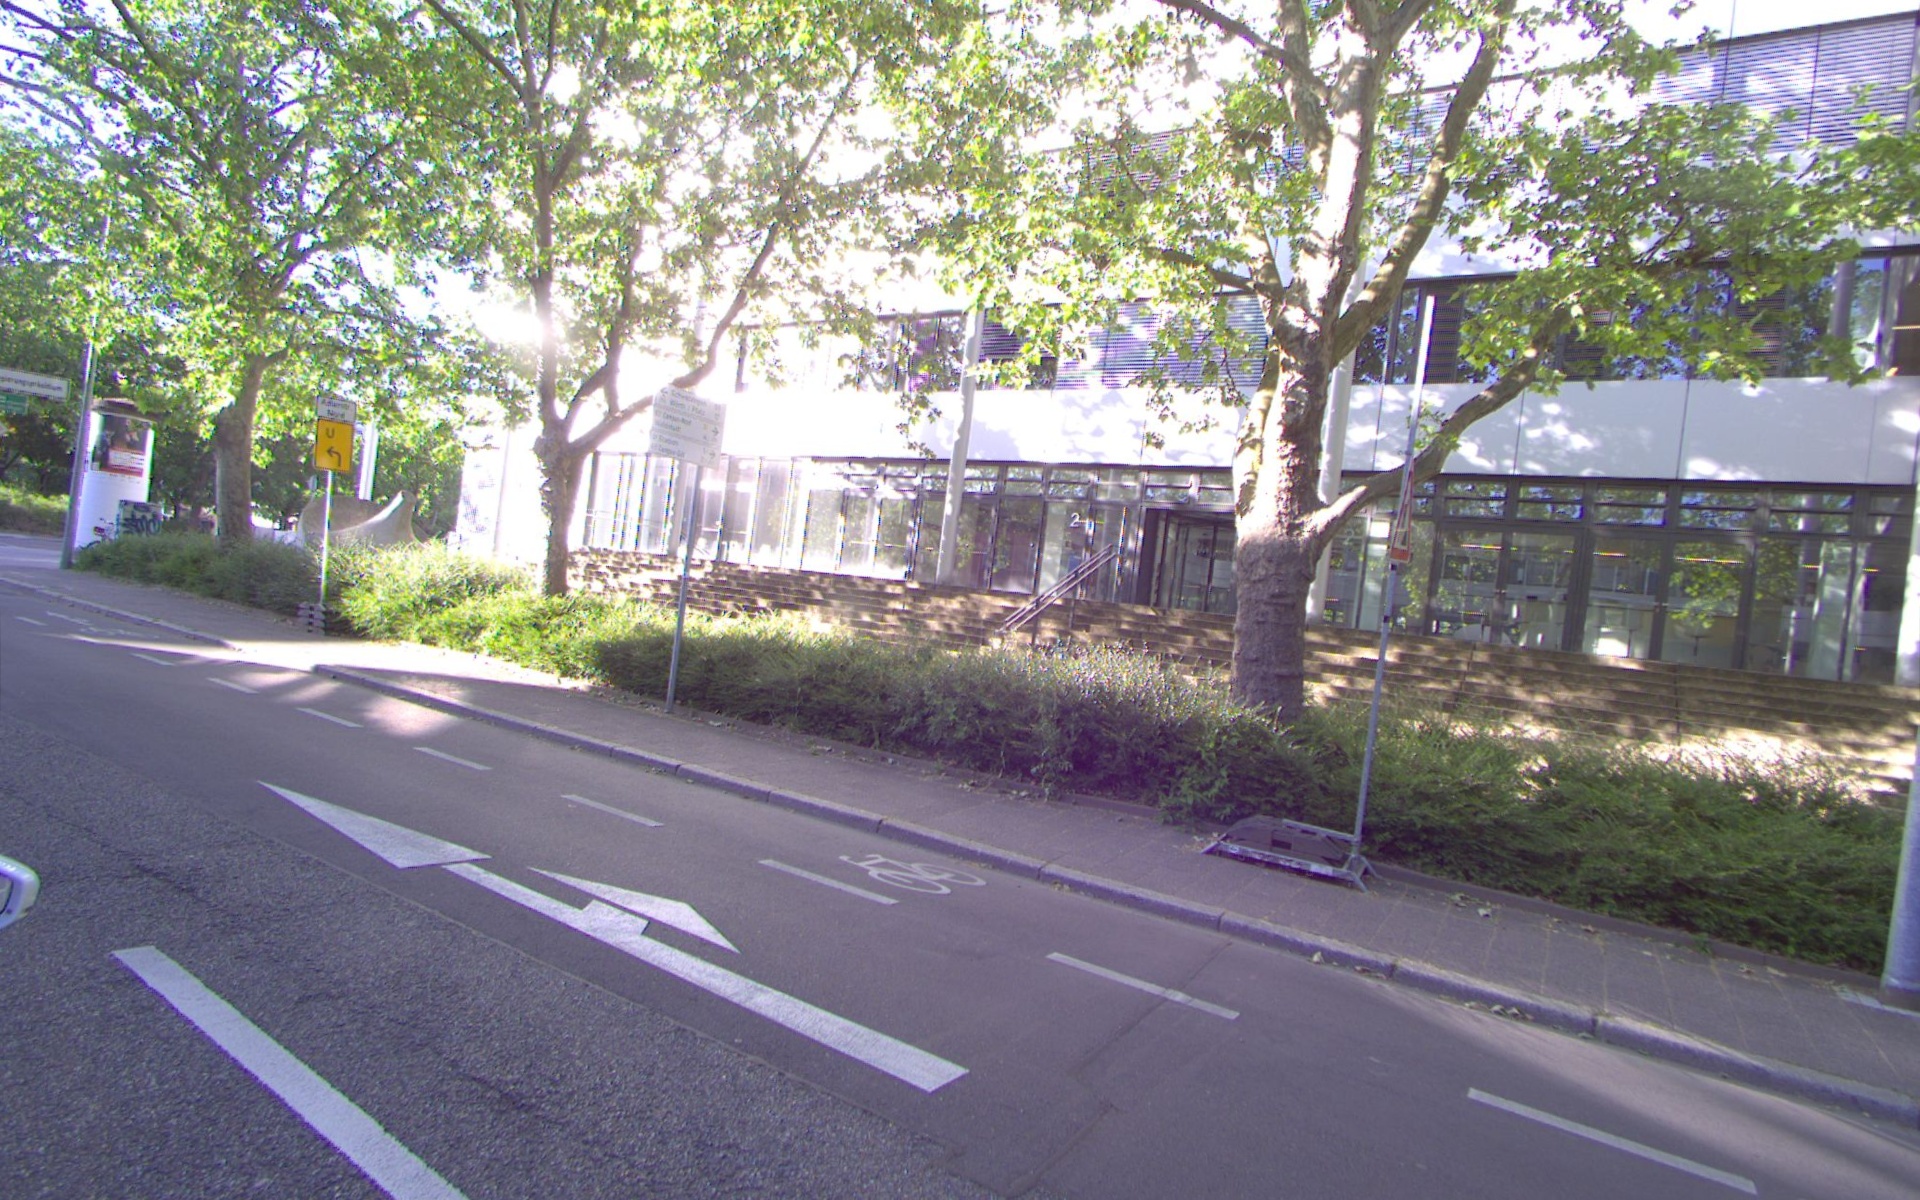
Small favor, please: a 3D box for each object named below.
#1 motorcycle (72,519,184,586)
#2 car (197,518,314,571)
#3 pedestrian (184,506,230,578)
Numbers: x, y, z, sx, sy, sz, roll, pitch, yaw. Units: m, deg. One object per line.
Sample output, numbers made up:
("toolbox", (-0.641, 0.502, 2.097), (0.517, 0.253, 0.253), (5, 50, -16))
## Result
("motorcycle", (-19.227, -1.090, 23.283), (0.712, 1.257, 1.782), (6, -2, 37))
("car", (-32.703, -2.559, 46.824), (1.708, 1.792, 3.996), (7, -1, 30))
("pedestrian", (-20.578, -1.592, 27.483), (0.656, 1.849, 0.648), (7, 0, 31))
